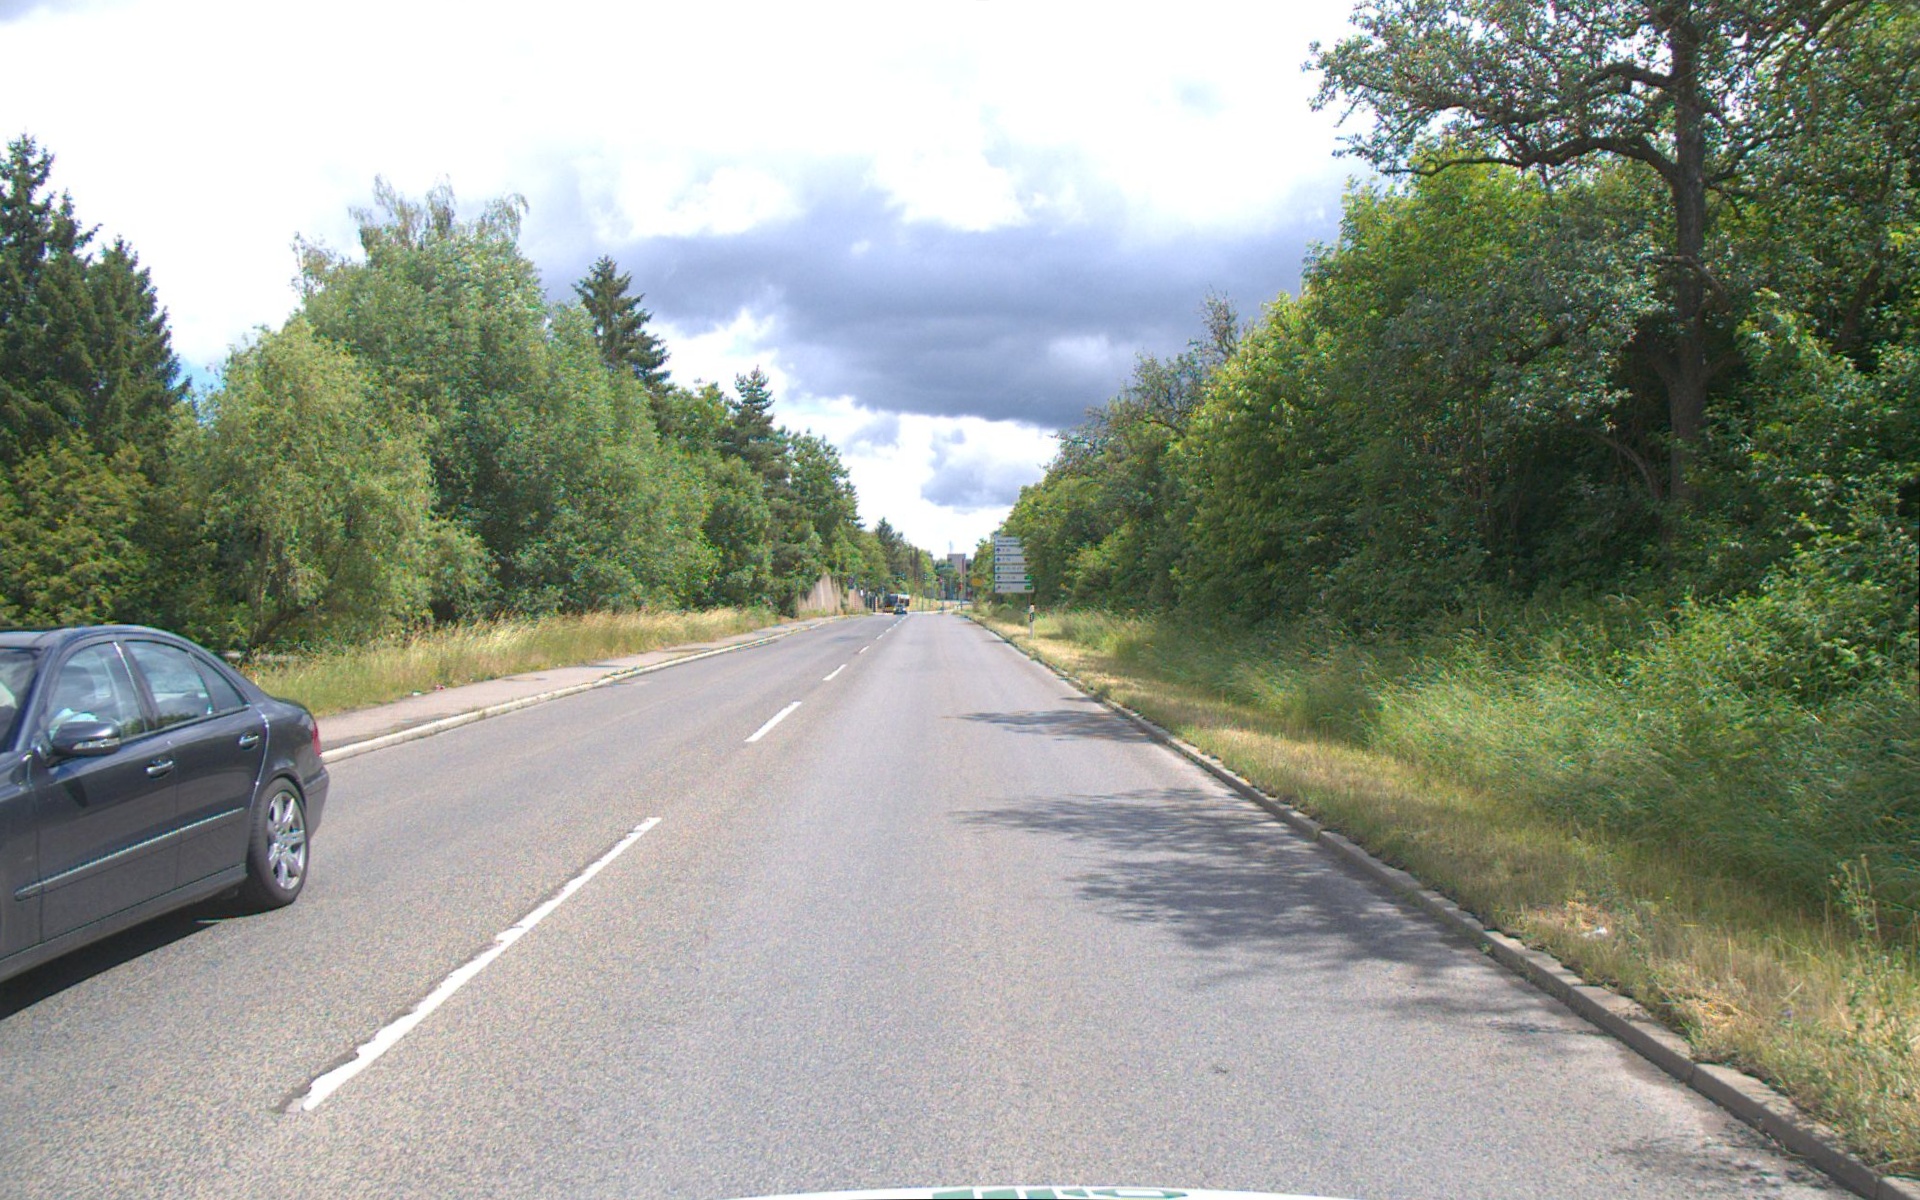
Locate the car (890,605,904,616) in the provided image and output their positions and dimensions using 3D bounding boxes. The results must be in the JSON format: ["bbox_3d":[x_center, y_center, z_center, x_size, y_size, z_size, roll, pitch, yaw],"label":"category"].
[{"bbox_3d":[-8.363,1.378,219.688,1.716,1.489,3.999,-2,0,-1],"label":"car"}]

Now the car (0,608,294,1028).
[{"bbox_3d":[-4.116,0.787,5.849,1.749,1.357,4.621,-3,1,-2],"label":"car"}]
